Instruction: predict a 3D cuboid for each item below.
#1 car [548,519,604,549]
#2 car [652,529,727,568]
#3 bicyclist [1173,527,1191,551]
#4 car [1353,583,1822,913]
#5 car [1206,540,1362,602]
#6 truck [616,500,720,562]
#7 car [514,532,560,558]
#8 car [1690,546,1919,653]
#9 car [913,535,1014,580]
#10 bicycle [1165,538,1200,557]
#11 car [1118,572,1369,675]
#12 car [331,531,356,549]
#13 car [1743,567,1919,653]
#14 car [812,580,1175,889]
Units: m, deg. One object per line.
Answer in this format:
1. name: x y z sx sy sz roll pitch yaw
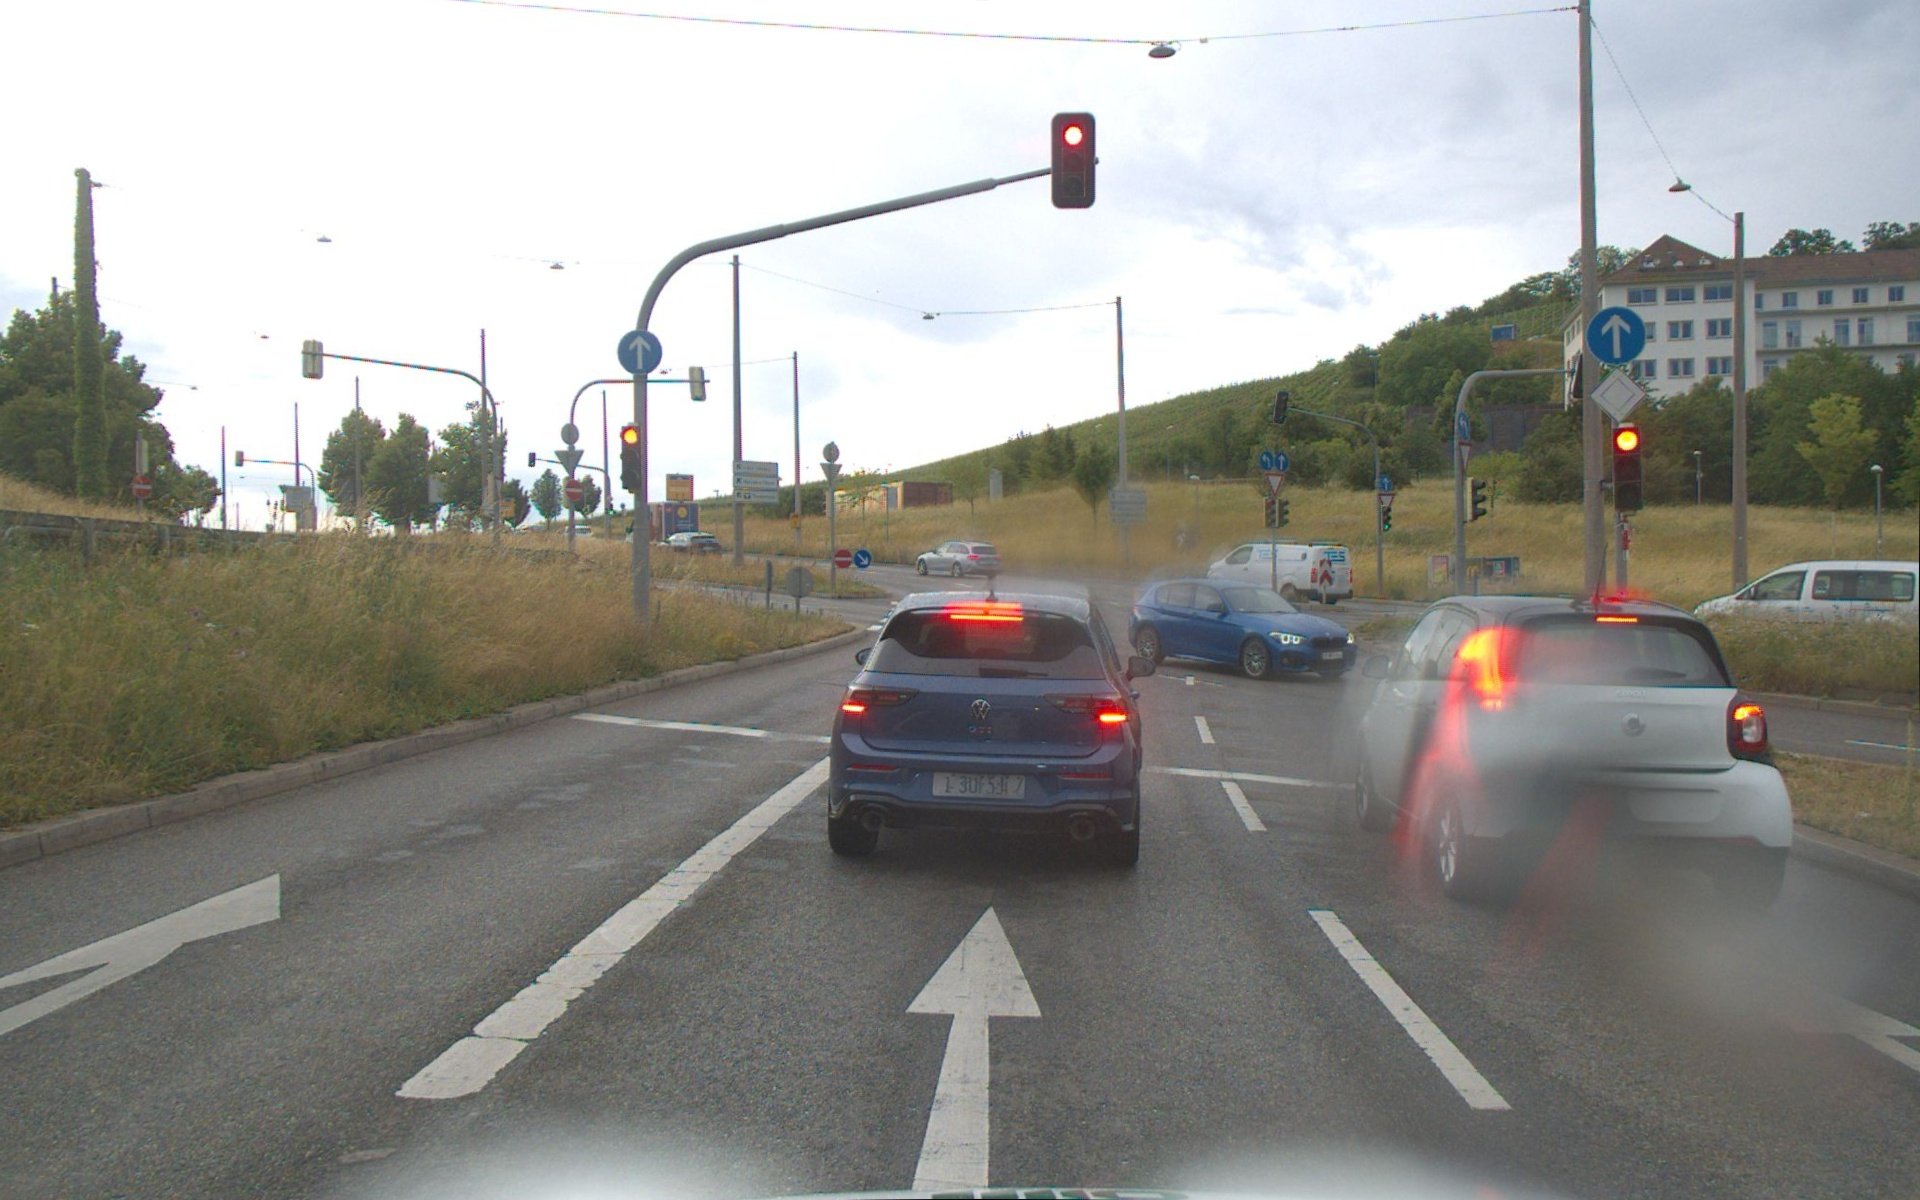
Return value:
1. car: -24.392 -4.186 104.965 1.976 1.688 4.490 1 0 -34
2. car: -13.054 -2.454 79.654 1.976 1.688 4.301 1 0 -34
3. bicyclist: 10.172 -2.802 75.887 0.520 1.065 0.572 3 0 -41
4. car: 3.377 0.704 9.567 1.623 1.529 3.453 1 0 5
5. car: 10.107 -0.879 51.846 2.111 1.826 4.683 1 0 -34
6. truck: -16.216 -3.834 91.608 3.232 3.127 6.100 3 1 -36
7. car: -30.154 -3.904 117.847 1.973 1.688 4.499 1 0 -30
8. car: 16.359 -0.011 30.980 1.805 1.882 4.629 1 0 -40
9. car: 0.111 -1.712 67.858 1.976 1.688 4.490 1 0 -34
10. bicycle: 10.191 -2.420 75.864 0.515 0.788 1.597 3 1 -41
11. car: 4.449 0.348 26.576 1.677 1.501 4.249 1 0 -30
12. car: -63.699 -6.214 170.865 1.736 1.735 3.698 3 1 -30
13. car: 18.298 0.198 33.006 1.982 1.649 4.459 1 0 -40
14. car: 0.304 0.644 10.140 1.787 1.486 3.810 1 1 4
